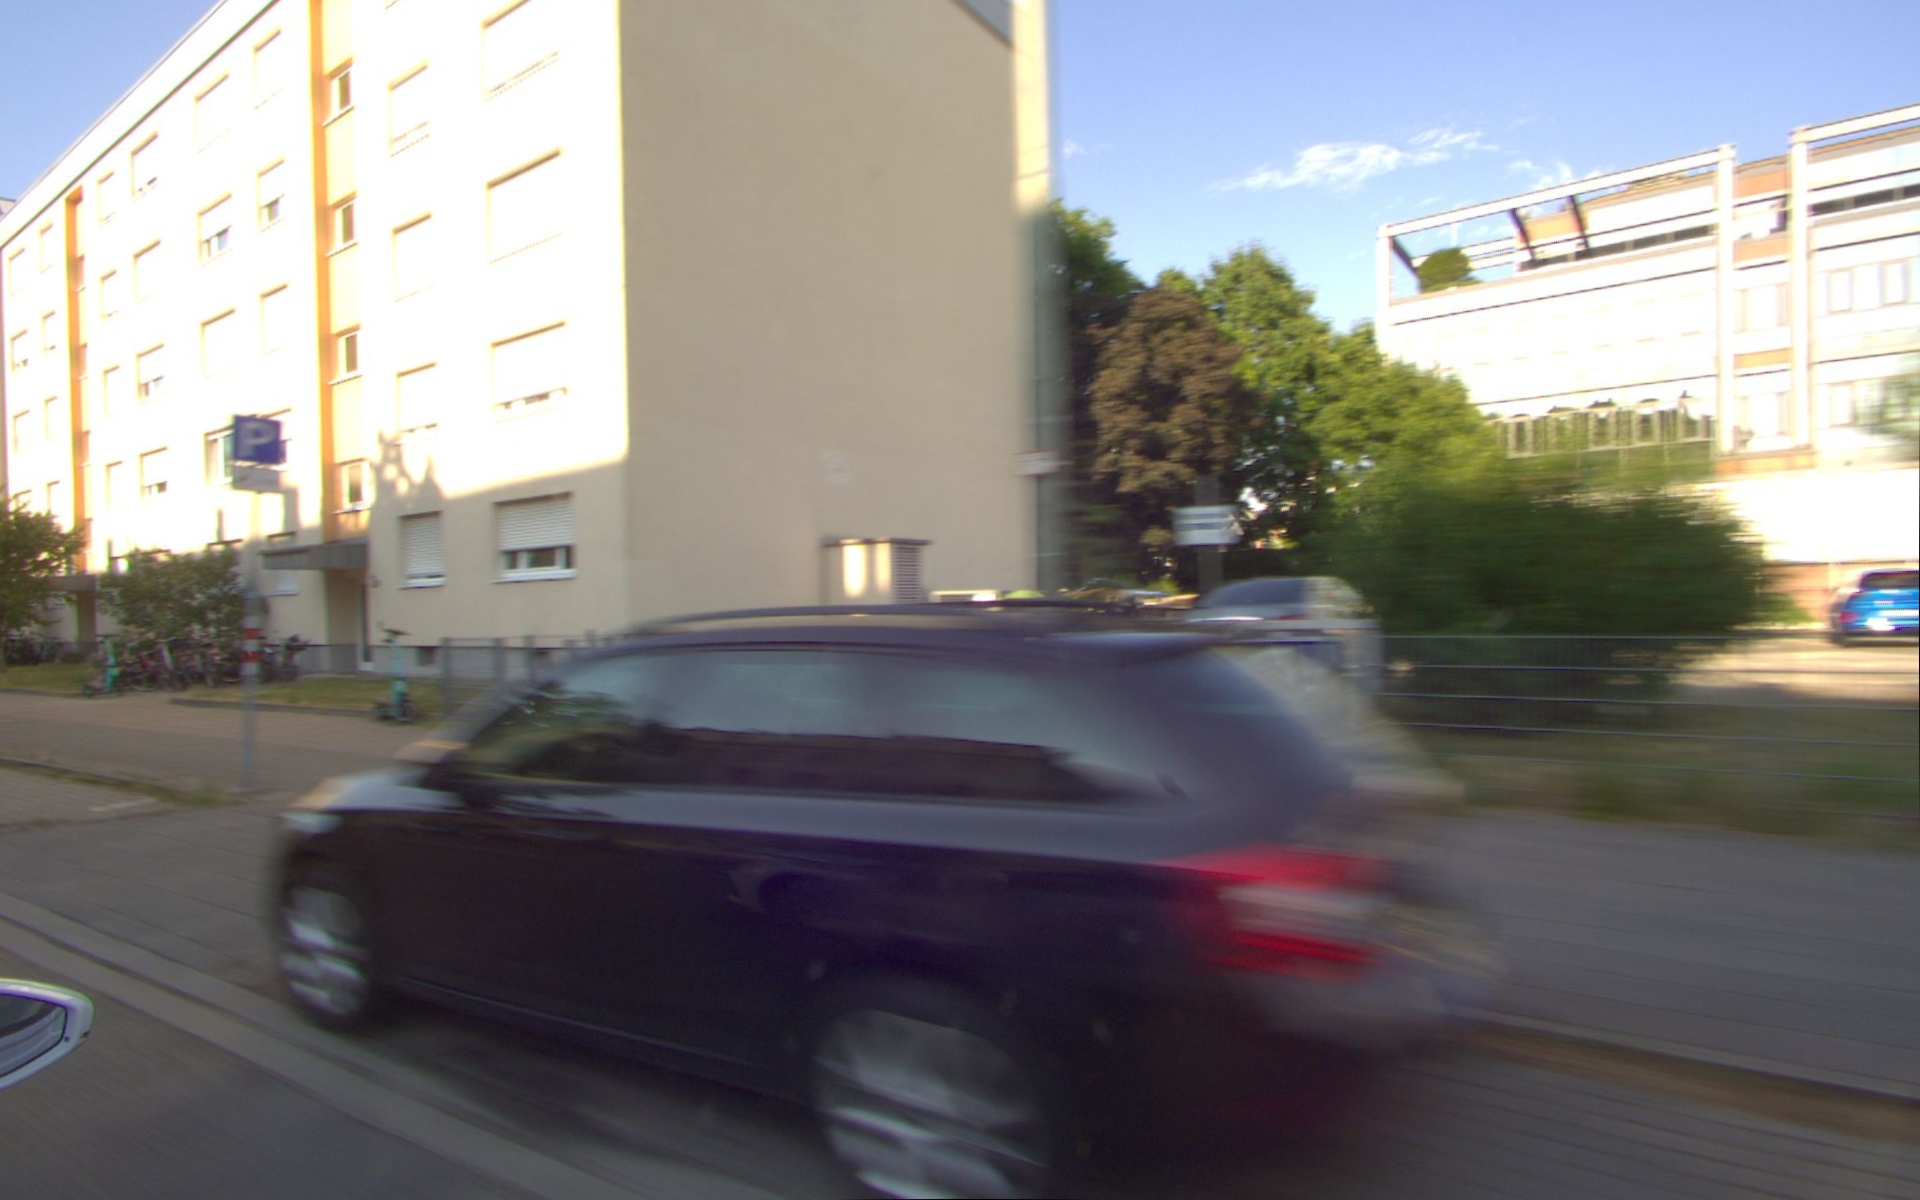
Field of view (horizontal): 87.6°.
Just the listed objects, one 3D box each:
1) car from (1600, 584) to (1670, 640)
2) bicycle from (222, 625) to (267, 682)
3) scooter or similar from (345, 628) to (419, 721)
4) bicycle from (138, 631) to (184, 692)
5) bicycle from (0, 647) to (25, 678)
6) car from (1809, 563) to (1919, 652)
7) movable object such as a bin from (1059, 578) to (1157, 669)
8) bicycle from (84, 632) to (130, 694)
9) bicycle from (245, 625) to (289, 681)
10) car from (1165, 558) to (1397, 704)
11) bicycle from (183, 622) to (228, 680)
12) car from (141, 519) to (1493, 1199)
[{"bbox_3d":[21.719,0.456,32.195,1.710,1.621,4.466,-2,-4,35],"label":"car"},{"bbox_3d":[-15.461,1.153,21.628,1.223,1.207,0.333,-2,-3,33],"label":"bicycle"},{"bbox_3d":[-7.822,1.000,13.540,1.223,1.207,0.333,-2,-3,33],"label":"scooter or similar"},{"bbox_3d":[-16.253,1.244,20.353,1.223,1.207,0.333,-2,-3,33],"label":"bicycle"},{"bbox_3d":[-30.485,1.998,32.130,1.769,0.953,0.436,-3,-3,38],"label":"bicycle"},{"bbox_3d":[18.624,0.238,20.267,1.710,1.621,4.466,-2,-4,35],"label":"car"},{"bbox_3d":[2.969,0.499,20.025,1.280,1.736,1.570,-2,-3,41],"label":"movable object such as a bin"},{"bbox_3d":[-17.043,1.258,20.011,1.223,1.207,0.333,-2,-3,33],"label":"bicycle"},{"bbox_3d":[-15.173,1.159,21.924,1.223,1.207,0.333,-2,-3,33],"label":"bicycle"},{"bbox_3d":[4.464,0.364,13.455,1.710,1.622,4.463,-2,-1,35],"label":"car"},{"bbox_3d":[-15.894,1.078,21.093,1.223,1.207,0.333,-2,-3,33],"label":"bicycle"},{"bbox_3d":[-0.813,0.718,3.743,4.874,1.582,1.883,-2,0,31],"label":"car"}]
